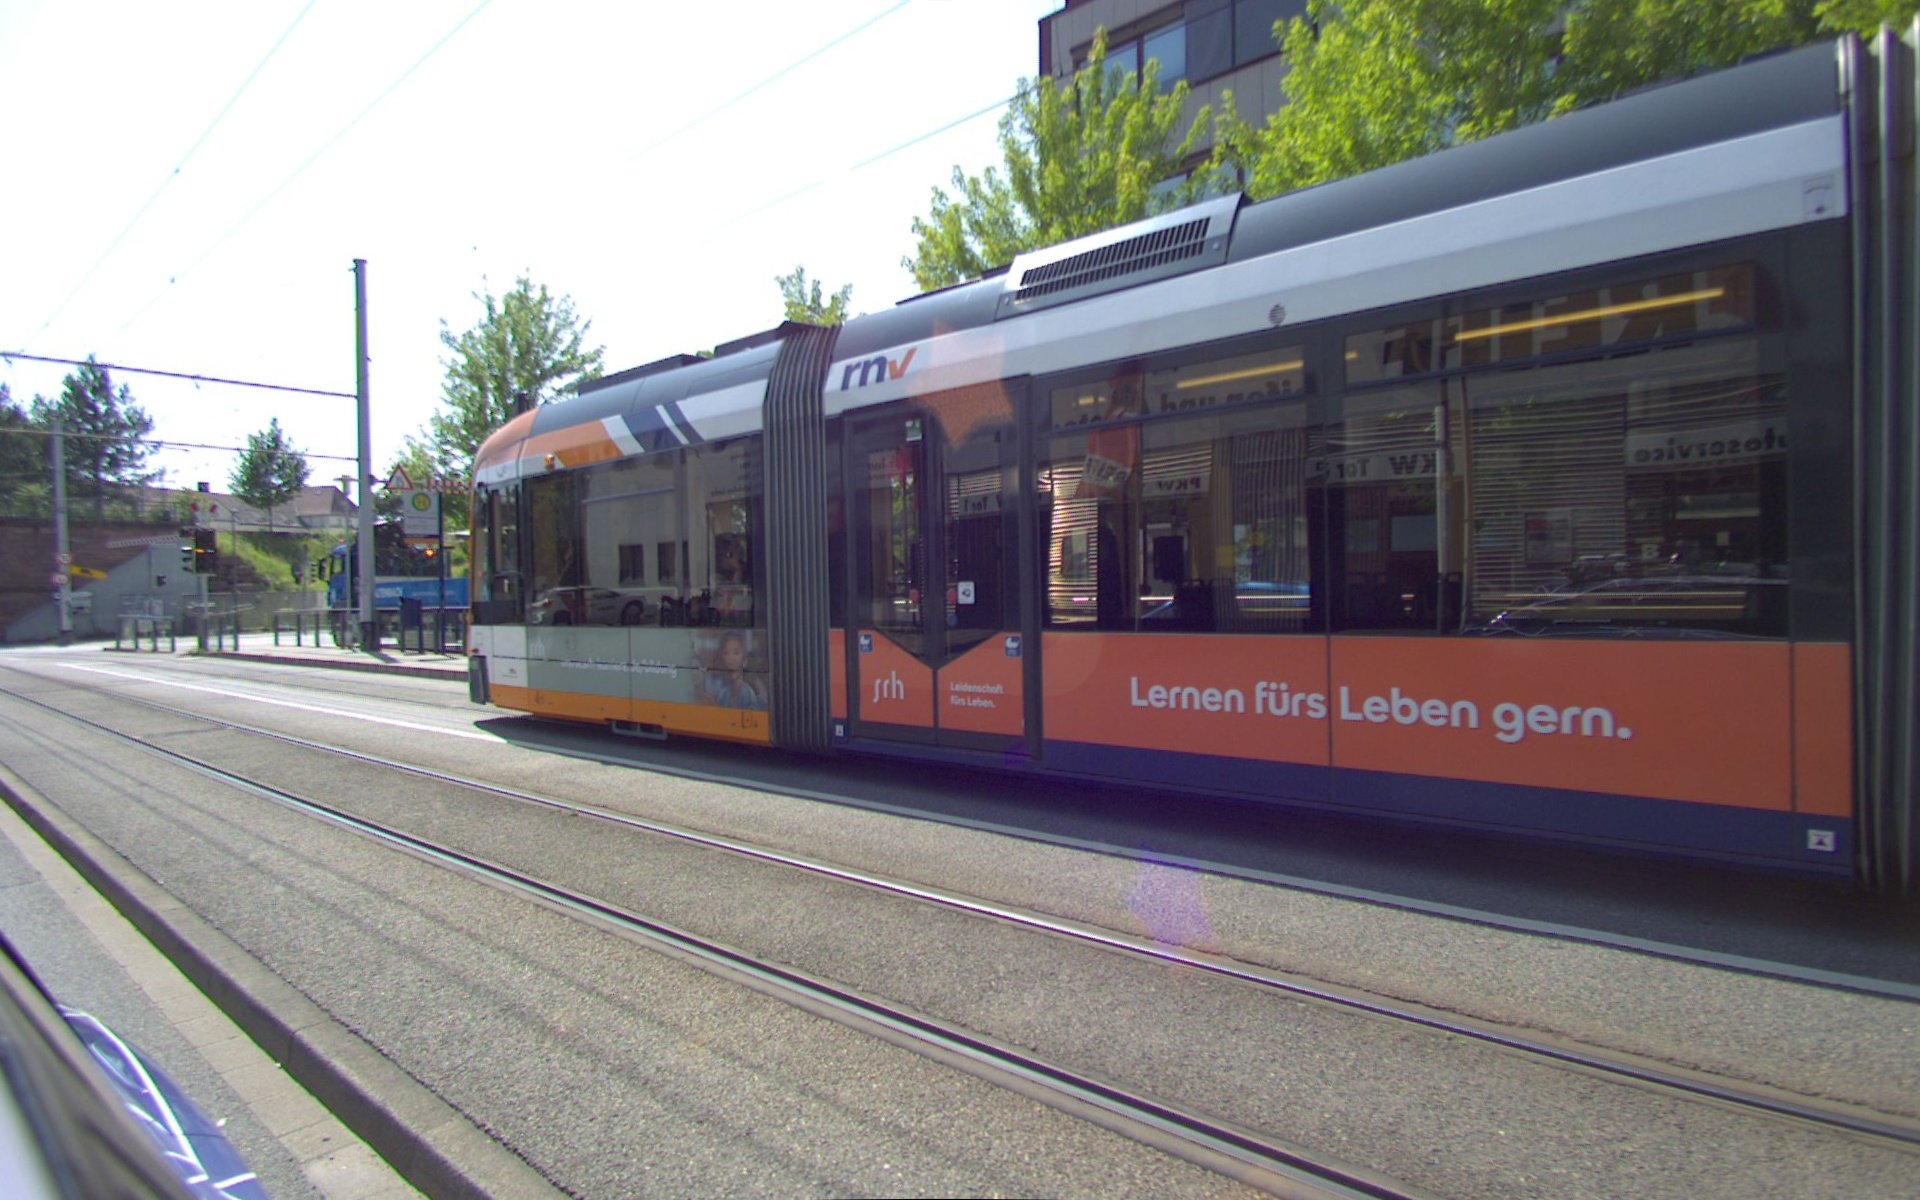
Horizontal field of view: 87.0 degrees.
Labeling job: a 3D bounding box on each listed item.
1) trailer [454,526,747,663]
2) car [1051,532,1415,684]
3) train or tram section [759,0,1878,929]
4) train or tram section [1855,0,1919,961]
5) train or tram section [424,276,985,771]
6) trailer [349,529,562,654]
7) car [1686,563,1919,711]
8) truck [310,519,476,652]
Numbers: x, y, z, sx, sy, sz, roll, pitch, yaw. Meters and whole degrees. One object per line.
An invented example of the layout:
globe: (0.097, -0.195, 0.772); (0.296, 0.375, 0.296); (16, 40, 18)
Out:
trailer: (-8.380, -0.047, 23.038); (7.593, 2.648, 2.769); (-1, 0, 40)
car: (3.284, 0.141, 12.642); (4.068, 1.596, 1.705); (-1, -2, 40)
train or tram section: (1.639, -0.610, 6.273); (5.839, 3.473, 2.584); (-1, 0, 41)
train or tram section: (5.794, -0.615, 2.669); (5.007, 3.473, 2.584); (-1, 0, 41)
train or tram section: (-2.804, -0.518, 10.130); (5.739, 3.559, 2.584); (-1, 0, 41)
trailer: (-13.930, -0.157, 27.694); (6.893, 3.000, 2.716); (-1, 0, 40)
car: (10.490, 0.360, 11.045); (3.999, 1.530, 1.742); (-1, 1, 42)
truck: (-17.026, -0.368, 30.322); (5.036, 3.636, 2.716); (-1, 0, 40)
